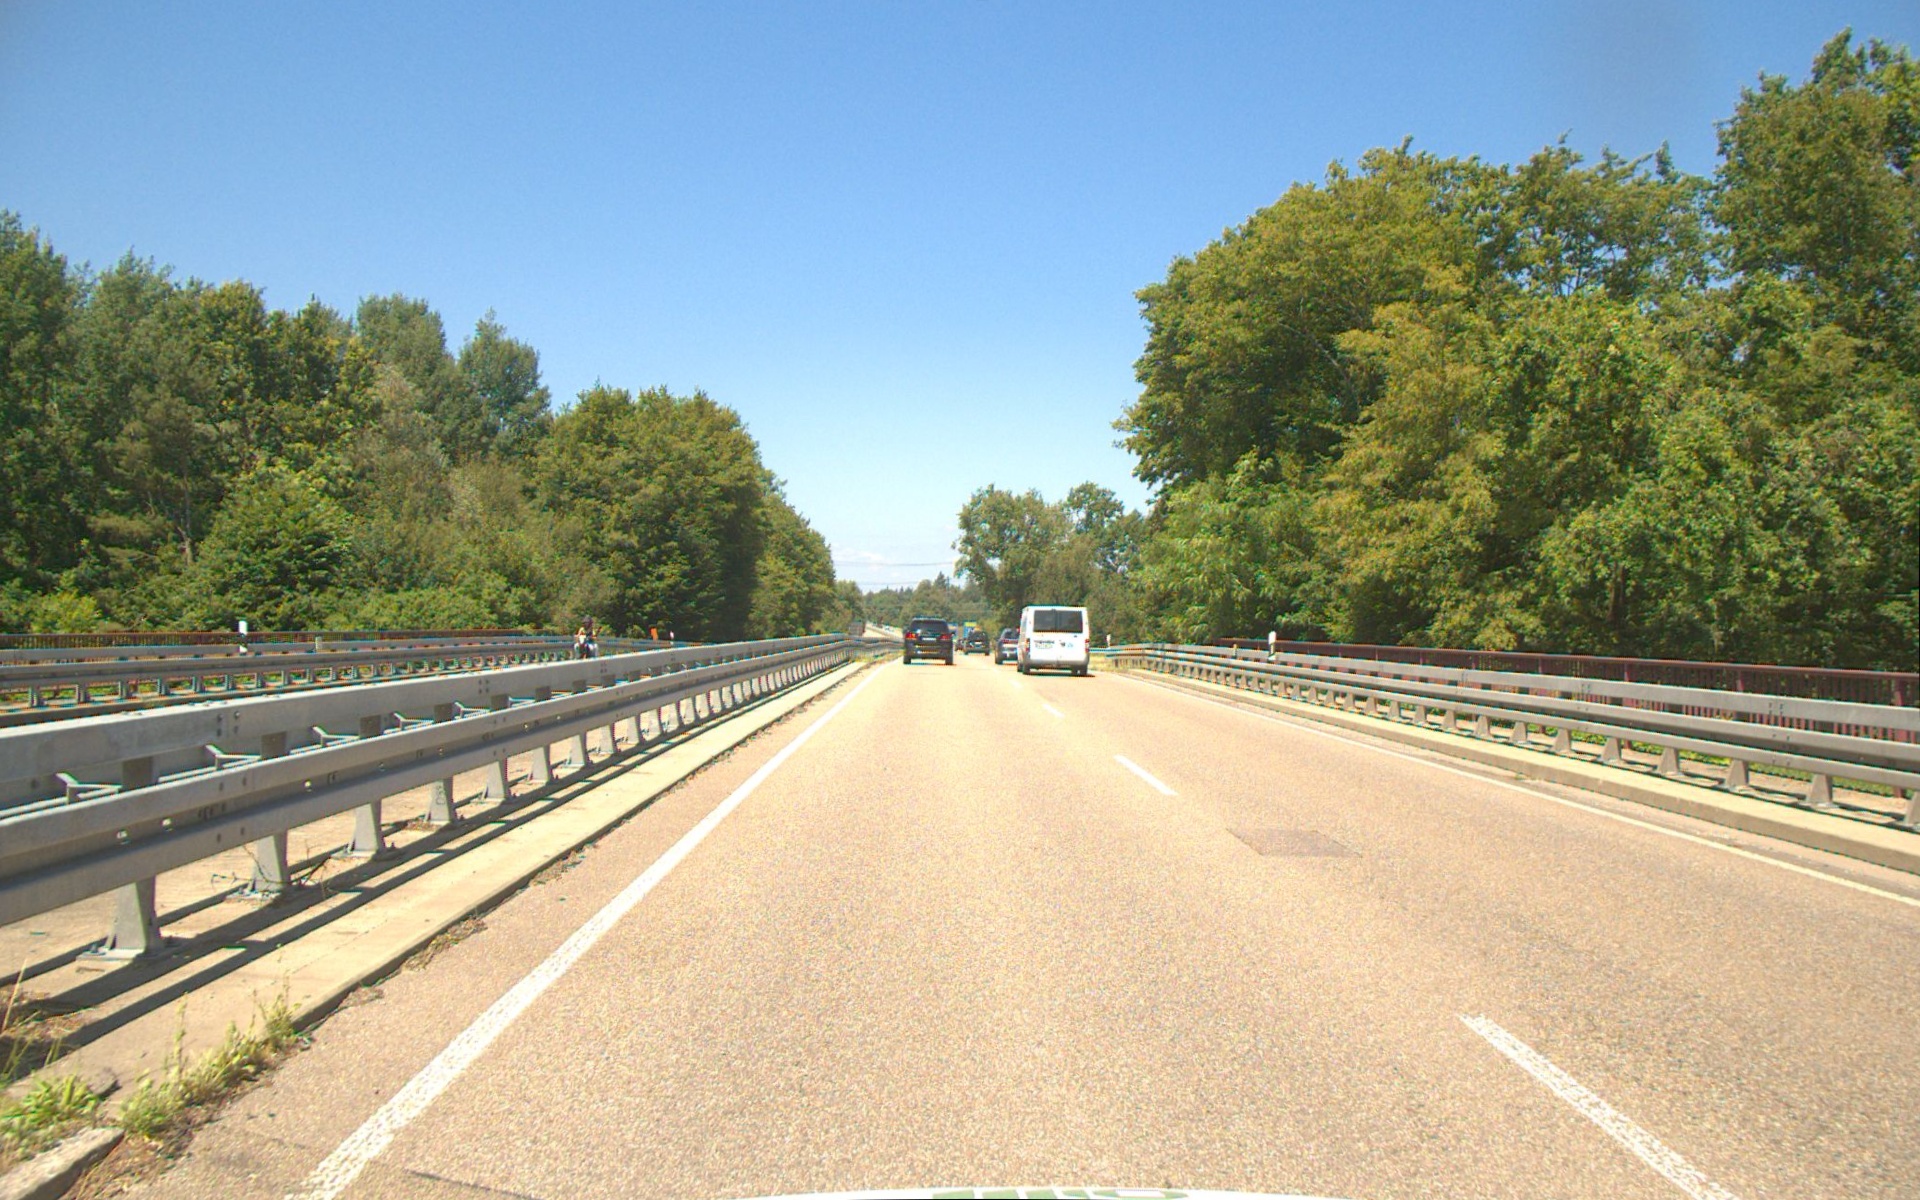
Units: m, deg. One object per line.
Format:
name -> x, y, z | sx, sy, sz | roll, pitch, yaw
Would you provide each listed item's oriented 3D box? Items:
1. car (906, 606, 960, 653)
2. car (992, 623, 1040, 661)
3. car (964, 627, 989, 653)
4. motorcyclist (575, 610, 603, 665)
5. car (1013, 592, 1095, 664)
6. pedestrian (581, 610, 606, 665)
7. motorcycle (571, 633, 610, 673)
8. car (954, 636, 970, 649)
car -> -1.090, 1.173, 63.840 | 1.954, 1.684, 3.997 | 0, -3, -3
car -> 2.358, 1.799, 70.846 | 1.749, 1.580, 4.017 | 1, -1, -2
car -> 1.221, 2.978, 123.493 | 1.744, 1.849, 4.211 | 0, -1, -1
motorcyclist -> -10.648, 1.076, 47.481 | 0.602, 1.567, 0.776 | 1, -1, -1
car -> 2.778, 0.890, 50.031 | 1.965, 2.024, 5.031 | 1, -2, -2
pedestrian -> -10.657, 1.090, 48.126 | 0.602, 1.567, 0.494 | 1, -1, -1
motorcycle -> -10.661, 1.508, 47.768 | 0.602, 1.123, 2.313 | 1, -1, -1
car -> 0.207, 4.868, 189.718 | 1.783, 1.439, 3.998 | -1, -1, -2
